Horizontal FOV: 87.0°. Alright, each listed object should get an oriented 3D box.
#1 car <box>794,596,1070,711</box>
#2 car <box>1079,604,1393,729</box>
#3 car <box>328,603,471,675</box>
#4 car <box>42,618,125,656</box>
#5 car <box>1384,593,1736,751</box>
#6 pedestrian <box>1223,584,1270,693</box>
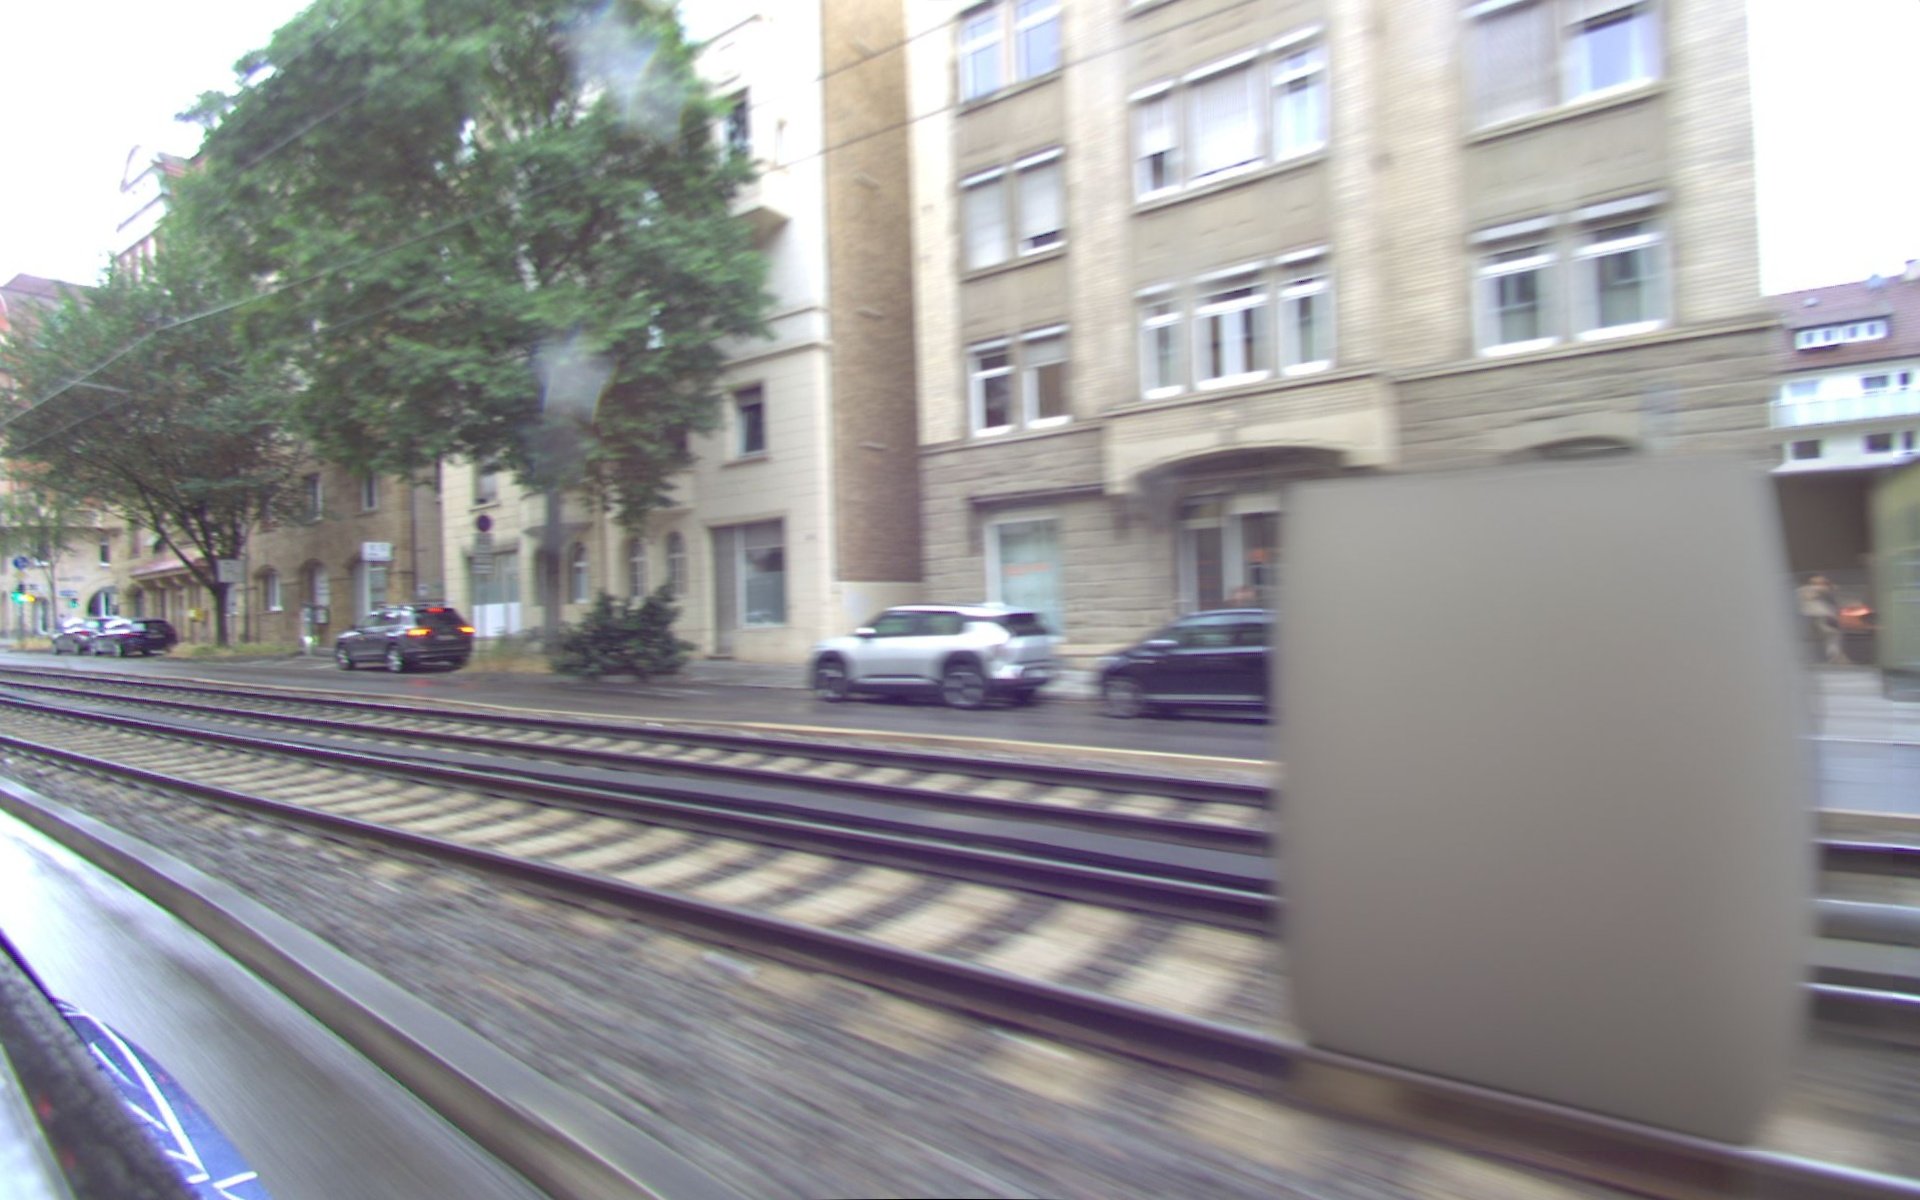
[{"bbox_3d":[-0.535,0.792,16.075,4.331,1.593,1.629,-1,-1,37],"label":"car"},{"bbox_3d":[3.547,0.794,13.248,3.626,1.414,1.629,-1,-1,37],"label":"car"},{"bbox_3d":[-14.495,0.971,26.114,4.089,1.719,1.630,-1,-1,35],"label":"car"},{"bbox_3d":[-36.147,1.518,41.723,4.156,1.501,1.630,-1,-1,35],"label":"car"},{"bbox_3d":[6.492,0.709,11.073,3.106,1.477,1.629,-1,-1,37],"label":"car"},{"bbox_3d":[4.479,0.598,15.825,0.541,1.666,0.543,-1,-1,36],"label":"pedestrian"}]
